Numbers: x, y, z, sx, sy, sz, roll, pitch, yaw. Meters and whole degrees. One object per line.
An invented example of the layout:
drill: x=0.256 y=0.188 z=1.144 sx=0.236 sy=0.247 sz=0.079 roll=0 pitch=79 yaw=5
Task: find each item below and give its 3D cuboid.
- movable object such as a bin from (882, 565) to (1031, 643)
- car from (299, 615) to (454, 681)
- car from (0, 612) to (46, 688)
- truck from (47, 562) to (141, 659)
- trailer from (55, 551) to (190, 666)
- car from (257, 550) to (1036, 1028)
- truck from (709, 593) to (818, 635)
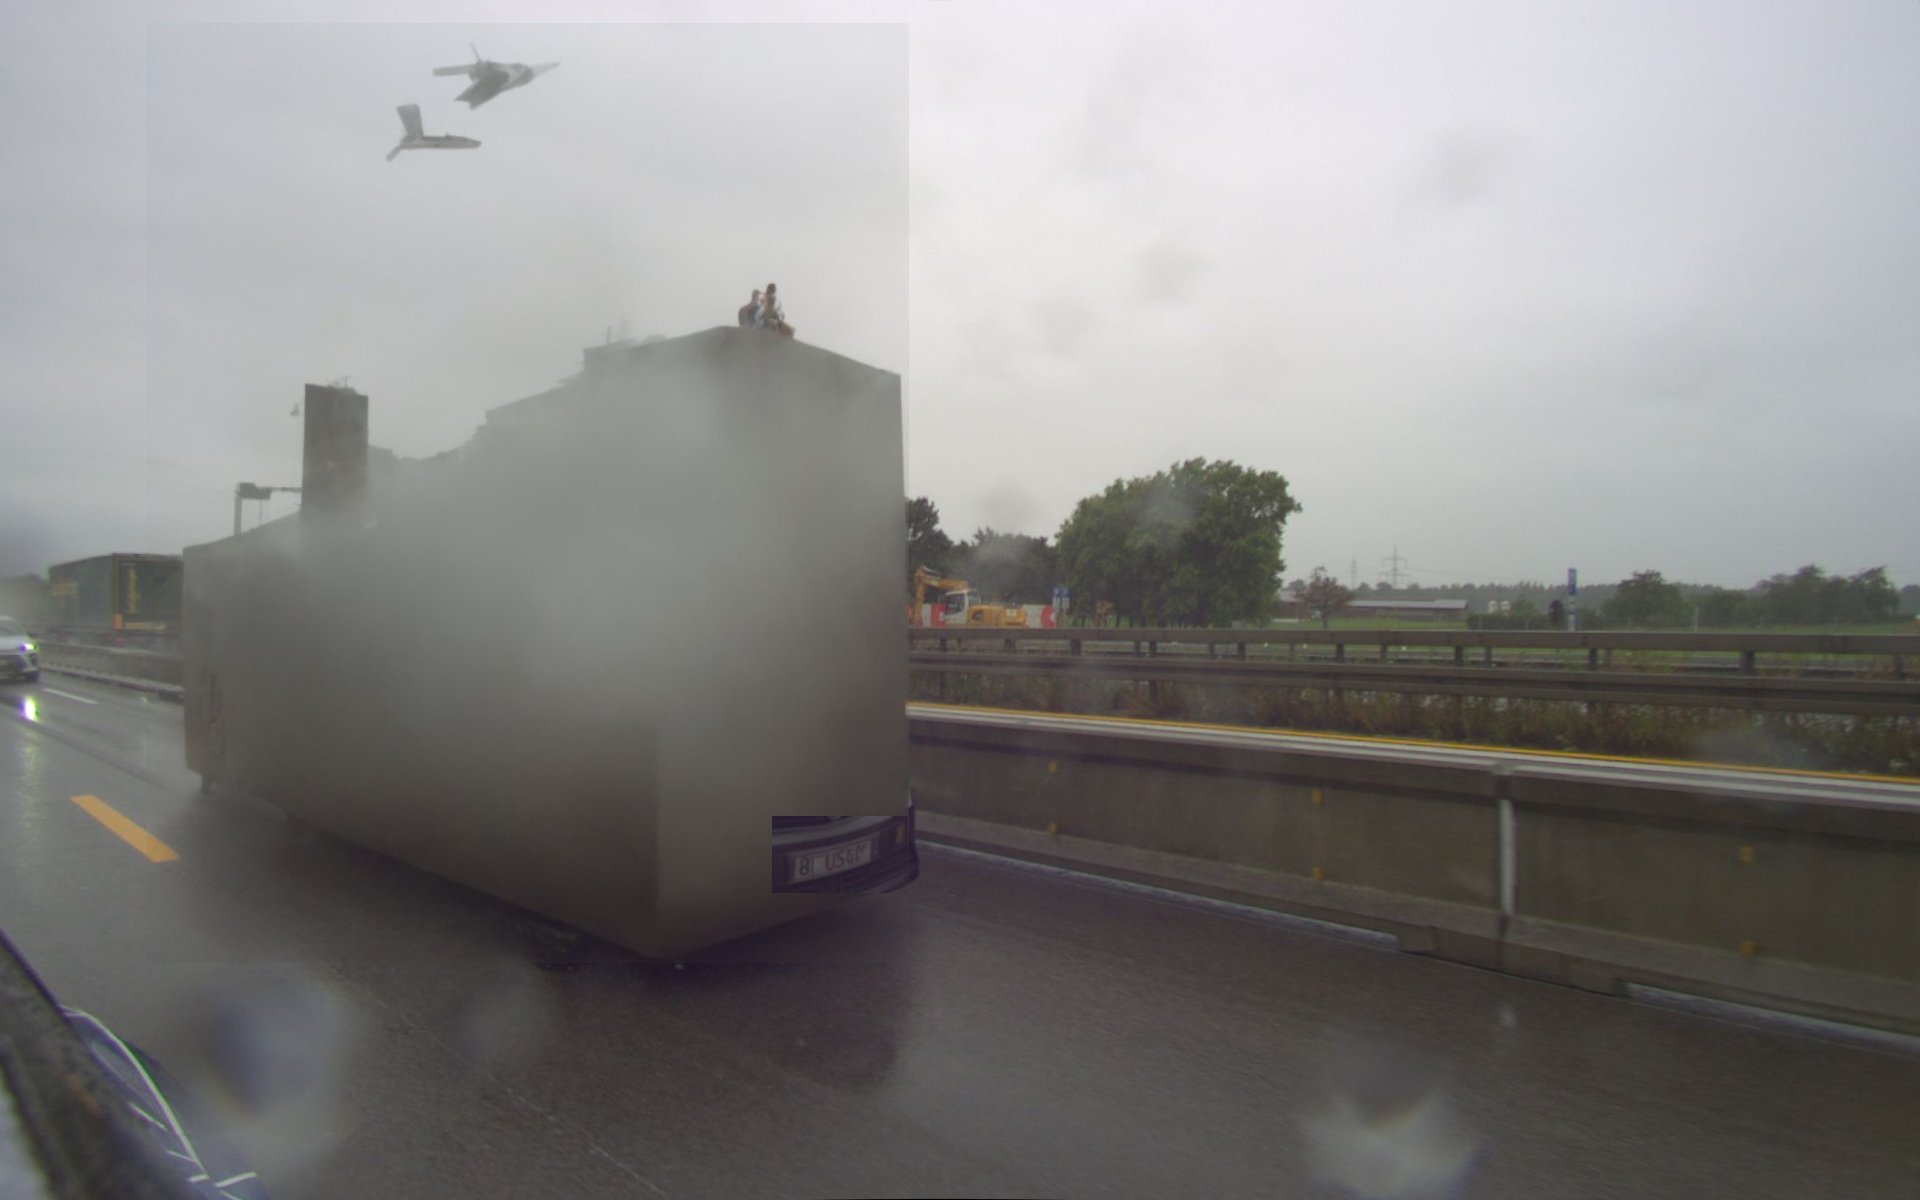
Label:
movable object such as a bin: x=-0.330 y=0.164 z=55.200 sx=8.458 sy=3.949 sz=2.701 roll=1 pitch=1 yaw=41
car: x=-14.800 y=1.147 z=25.520 sx=5.434 sy=1.448 sz=1.710 roll=-1 pitch=0 yaw=41
car: x=-23.786 y=1.173 z=24.356 sx=3.994 sy=1.693 sz=1.948 roll=0 pitch=1 yaw=37
truck: x=-41.938 y=0.506 z=48.953 sx=6.286 sy=4.422 sz=2.581 roll=-1 pitch=-1 yaw=41
trailer: x=-37.447 y=0.430 z=44.963 sx=13.546 sy=4.491 sz=2.554 roll=-1 pitch=-1 yaw=41
car: x=-2.071 y=0.648 z=5.590 sx=4.794 sy=1.539 sz=1.918 roll=-1 pitch=-1 yaw=42
truck: x=-13.636 y=0.987 z=69.563 sx=8.899 sy=2.724 sz=2.488 roll=-1 pitch=0 yaw=42
